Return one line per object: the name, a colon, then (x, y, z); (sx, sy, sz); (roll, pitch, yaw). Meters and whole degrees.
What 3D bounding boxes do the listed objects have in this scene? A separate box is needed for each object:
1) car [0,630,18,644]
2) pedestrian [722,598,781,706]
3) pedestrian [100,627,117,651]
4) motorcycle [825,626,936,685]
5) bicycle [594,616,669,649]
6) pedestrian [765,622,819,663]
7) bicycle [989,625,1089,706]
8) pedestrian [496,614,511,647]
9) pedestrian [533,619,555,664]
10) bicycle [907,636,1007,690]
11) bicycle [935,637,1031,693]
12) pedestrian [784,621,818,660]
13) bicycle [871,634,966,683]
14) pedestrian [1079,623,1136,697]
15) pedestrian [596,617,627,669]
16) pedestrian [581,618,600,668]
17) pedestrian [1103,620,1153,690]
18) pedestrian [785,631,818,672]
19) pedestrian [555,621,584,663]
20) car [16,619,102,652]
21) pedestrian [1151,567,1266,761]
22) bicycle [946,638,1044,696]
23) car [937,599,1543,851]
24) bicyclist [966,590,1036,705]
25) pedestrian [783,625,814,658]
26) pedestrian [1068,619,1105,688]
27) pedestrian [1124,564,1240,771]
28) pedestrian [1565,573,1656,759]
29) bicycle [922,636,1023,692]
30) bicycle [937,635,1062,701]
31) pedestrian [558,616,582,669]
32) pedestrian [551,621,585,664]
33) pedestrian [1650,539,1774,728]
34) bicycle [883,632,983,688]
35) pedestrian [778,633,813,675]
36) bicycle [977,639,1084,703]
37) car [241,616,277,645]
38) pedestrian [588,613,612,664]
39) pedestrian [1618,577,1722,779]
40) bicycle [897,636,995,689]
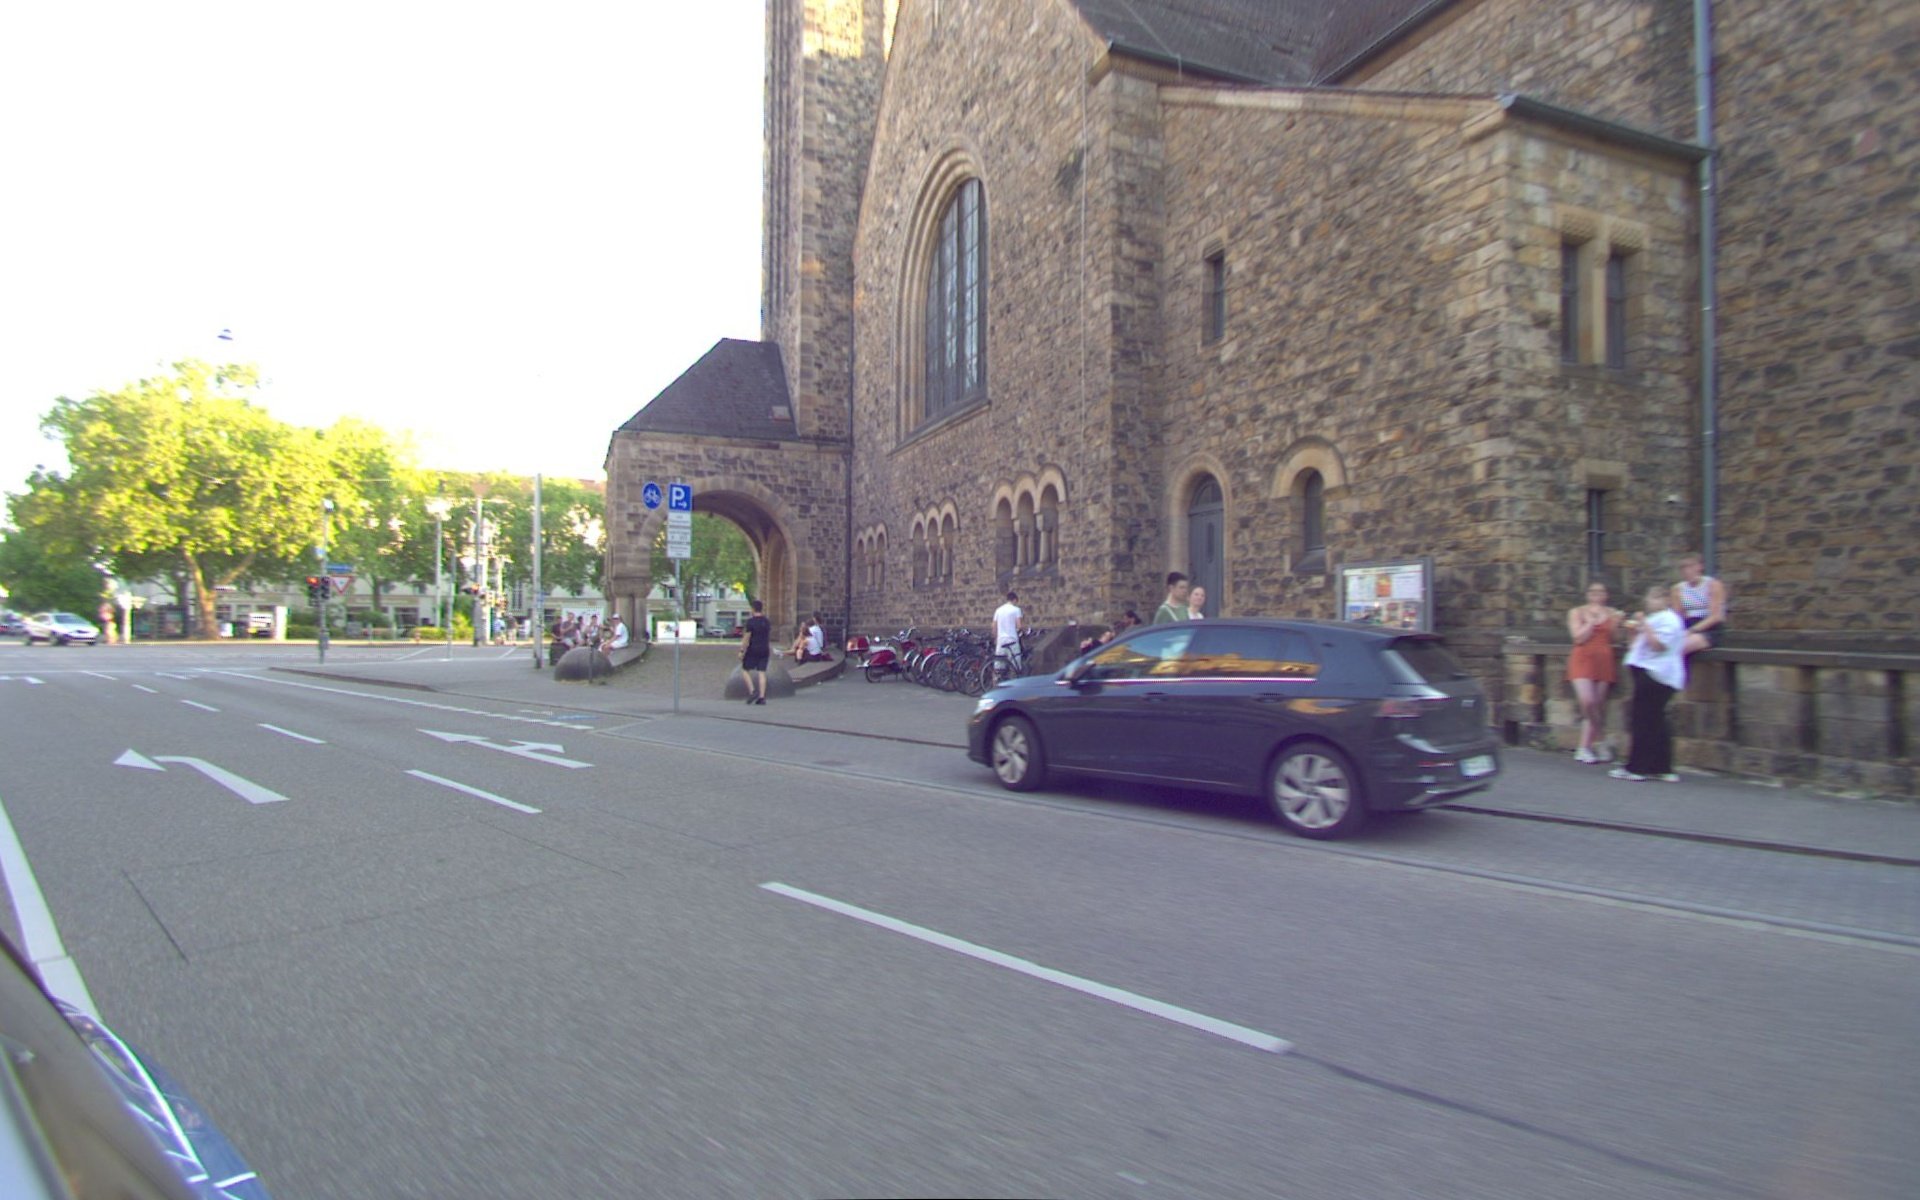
car: (-112.937, 4.337, 119.912); (1.801, 1.586, 4.005); (1, -2, -42)
pedestrian: (-3.453, 0.855, 16.771); (0.705, 1.738, 0.693); (2, -2, -40)
pedestrian: (-57.049, 2.602, 67.842); (0.734, 1.641, 0.662); (1, -2, -29)
motorcycle: (-1.684, 1.171, 21.795); (2.386, 1.134, 0.823); (-1, -1, -43)
bicycle: (-10.652, 1.061, 32.862); (2.247, 1.065, 0.597); (1, -2, -29)
pedestrian: (-4.560, 1.148, 27.517); (1.316, 1.102, 0.684); (0, -2, 4)
bicycle: (1.300, 1.049, 16.437); (1.704, 1.258, 0.438); (1, -2, -32)
pedestrian: (-25.898, 1.715, 57.391); (0.699, 1.861, 1.163); (1, -2, -26)
pedestrian: (-13.794, 1.371, 33.598); (0.619, 1.465, 0.918); (1, -2, -20)
bicycle: (-0.038, 1.203, 19.493); (1.974, 0.997, 0.467); (1, -2, -31)
bicycle: (0.444, 1.183, 18.620); (1.852, 0.997, 0.371); (1, -2, -31)
pedestrian: (-4.418, 1.121, 28.205); (0.819, 1.084, 0.646); (0, -2, 4)
bicycle: (-0.849, 1.207, 21.252); (1.974, 0.997, 0.587); (1, -2, -33)
pedestrian: (2.176, 0.873, 15.003); (0.509, 1.064, 0.702); (1, -2, -29)
pedestrian: (-9.481, 1.167, 27.559); (0.692, 1.417, 0.633); (1, -2, -11)
pedestrian: (-10.484, 1.218, 28.724); (0.395, 1.417, 0.549); (1, -2, -12)
pedestrian: (2.588, 0.840, 15.644); (0.490, 1.056, 0.609); (1, -2, -26)
pedestrian: (-3.857, 1.254, 24.629); (0.642, 0.975, 0.560); (0, -2, 10)
pedestrian: (-13.087, 1.416, 33.904); (0.790, 1.385, 0.701); (1, -2, -13)
car: (-45.153, 1.774, 50.720); (3.979, 1.570, 1.825); (-1, -2, 26)
pedestrian: (2.537, 0.633, 10.355); (0.988, 1.870, 0.566); (-2, -2, 41)
bicycle: (0.642, 1.172, 18.004); (1.852, 0.997, 0.371); (1, -2, -32)
car: (1.934, 0.778, 7.990); (1.763, 1.446, 4.318); (2, -2, -45)
bicyclist: (0.692, 0.786, 17.160); (0.926, 1.894, 0.710); (0, -1, -26)
pedestrian: (-4.607, 1.172, 28.888); (0.730, 0.923, 0.647); (0, -2, 4)
pedestrian: (2.021, 0.839, 16.102); (0.515, 1.056, 0.735); (-1, -2, 13)
pedestrian: (2.147, 0.634, 9.813); (0.890, 1.894, 0.640); (-2, -2, 41)
pedestrian: (6.043, 0.606, 9.417); (0.541, 1.687, 0.414); (0, -2, 4)
bicycle: (0.256, 1.185, 19.042); (1.956, 0.997, 0.467); (1, -2, -31)
bicycle: (0.695, 1.144, 17.409); (2.150, 1.020, 0.555); (0, -1, -29)
pedestrian: (-10.983, 1.193, 28.508); (0.541, 1.464, 0.559); (1, -2, -11)
pedestrian: (-12.818, 1.370, 33.104); (0.793, 1.385, 0.698); (0, -2, 5)
pedestrian: (6.488, 0.280, 8.745); (0.641, 1.557, 0.587); (1, -2, -23)
bicycle: (-0.532, 1.206, 20.573); (1.974, 0.997, 0.587); (-2, 0, -31)
pedestrian: (-3.903, 1.275, 24.023); (0.688, 0.999, 0.560); (0, -2, 10)
bicycle: (1.179, 1.154, 16.714); (1.852, 0.997, 0.443); (1, -2, -31)
car: (-49.229, 2.140, 71.102); (1.837, 2.029, 3.821); (1, -2, -32)
pedestrian: (-9.961, 1.064, 27.995); (0.539, 1.417, 0.459); (1, -2, -11)
pedestrian: (5.894, 0.636, 8.419); (0.541, 1.634, 0.414); (0, -2, 4)
bicycle: (-0.253, 1.215, 19.959); (1.974, 0.997, 0.467); (1, -2, -31)
